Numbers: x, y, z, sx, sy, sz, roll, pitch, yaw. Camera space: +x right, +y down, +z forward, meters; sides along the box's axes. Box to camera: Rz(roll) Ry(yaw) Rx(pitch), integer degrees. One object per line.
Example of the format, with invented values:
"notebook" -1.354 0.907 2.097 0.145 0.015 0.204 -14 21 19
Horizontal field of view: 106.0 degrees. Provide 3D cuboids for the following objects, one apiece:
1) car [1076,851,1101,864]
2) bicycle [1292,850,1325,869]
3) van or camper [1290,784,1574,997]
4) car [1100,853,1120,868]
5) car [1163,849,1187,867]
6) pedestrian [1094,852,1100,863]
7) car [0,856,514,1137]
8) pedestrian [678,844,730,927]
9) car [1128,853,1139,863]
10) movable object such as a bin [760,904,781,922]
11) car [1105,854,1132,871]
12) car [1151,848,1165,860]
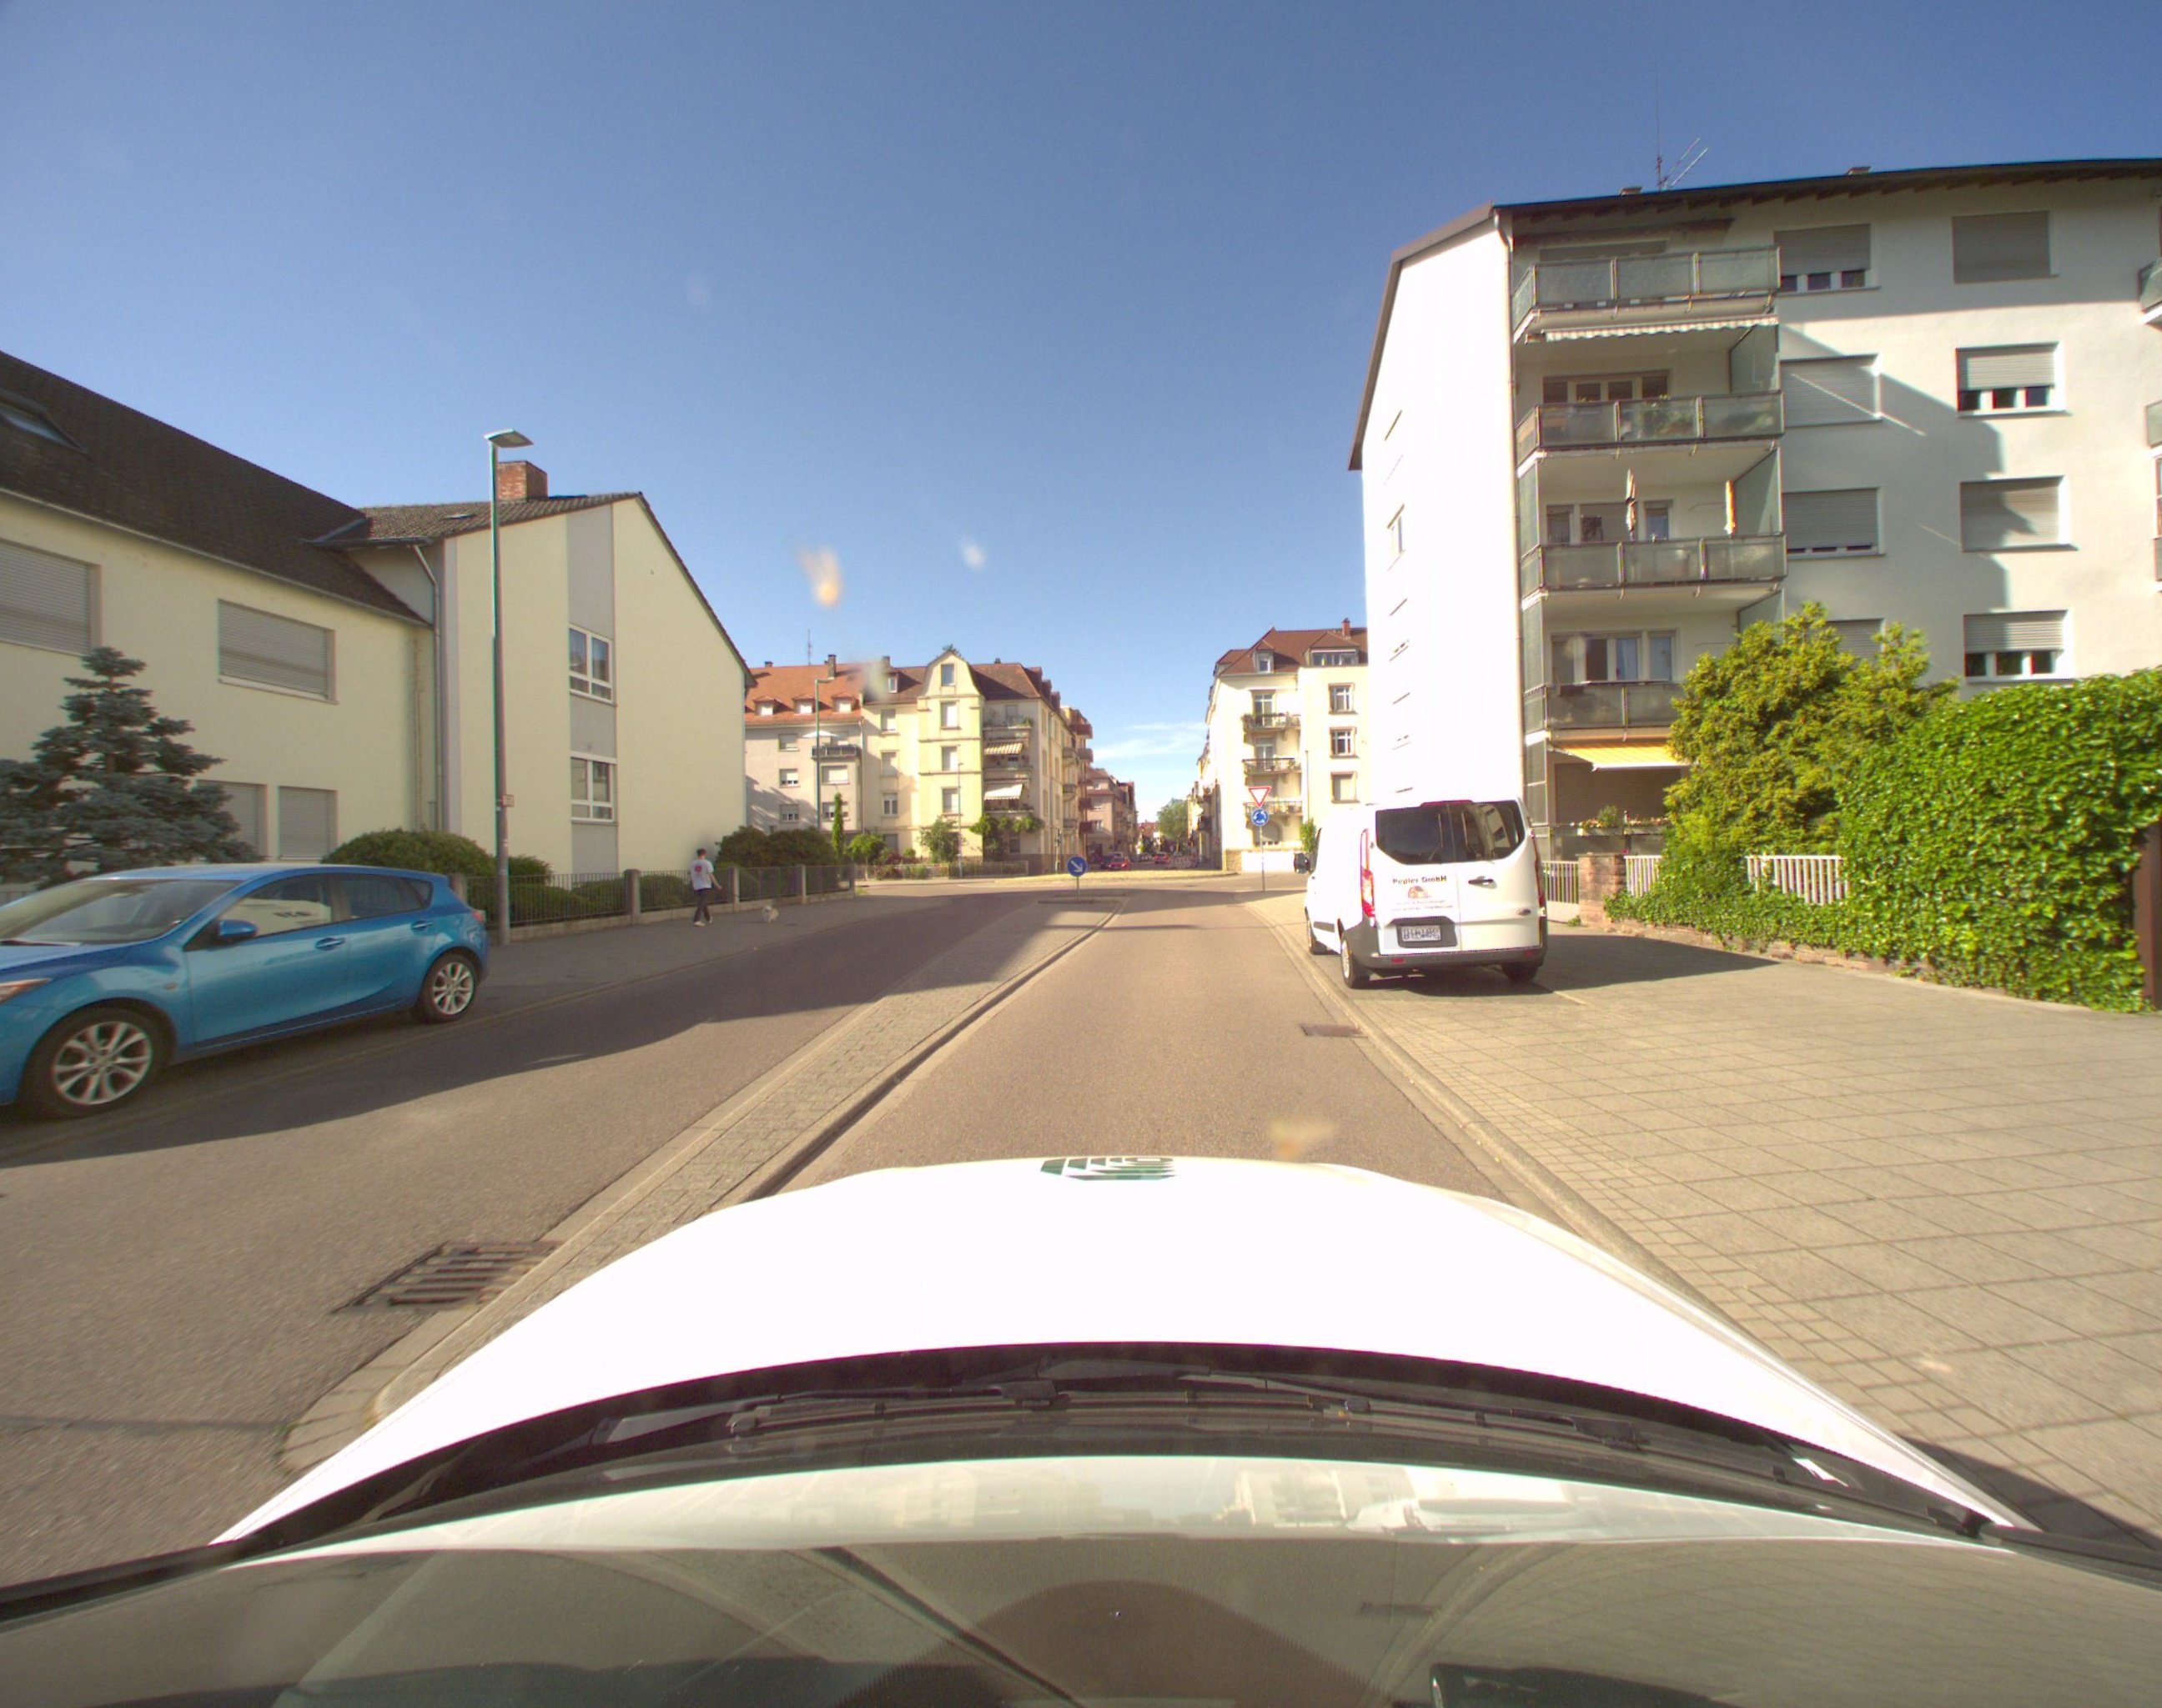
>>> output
"car" 1.265 0.512 134.405 3.873 2.013 1.770 -1 0 13
"bicycle" 16.209 0.404 58.025 2.147 1.268 0.767 -3 -3 23
"van or camper" 3.945 0.361 10.155 2.009 1.947 4.714 -3 0 8
"car" 3.131 0.664 87.440 1.984 1.532 4.005 -1 0 5
"car" 9.911 0.400 85.931 2.418 1.811 4.733 -1 0 7
"pedestrian" 2.443 0.534 122.599 0.795 1.750 0.847 -1 0 8
"car" -6.612 0.757 6.033 1.792 1.473 4.329 0 0 0
"pedestrian" -8.070 0.675 17.461 0.679 1.704 0.825 -2 -3 7
"car" 9.190 0.717 142.639 1.626 1.656 3.678 -1 0 7
"movable object such as a bin" -6.972 1.323 18.285 0.218 0.348 0.521 1 0 8
"car" 3.477 0.797 75.306 1.728 1.354 3.683 -2 -3 15
"car" 11.607 0.027 122.716 1.984 1.739 4.006 -1 0 5
